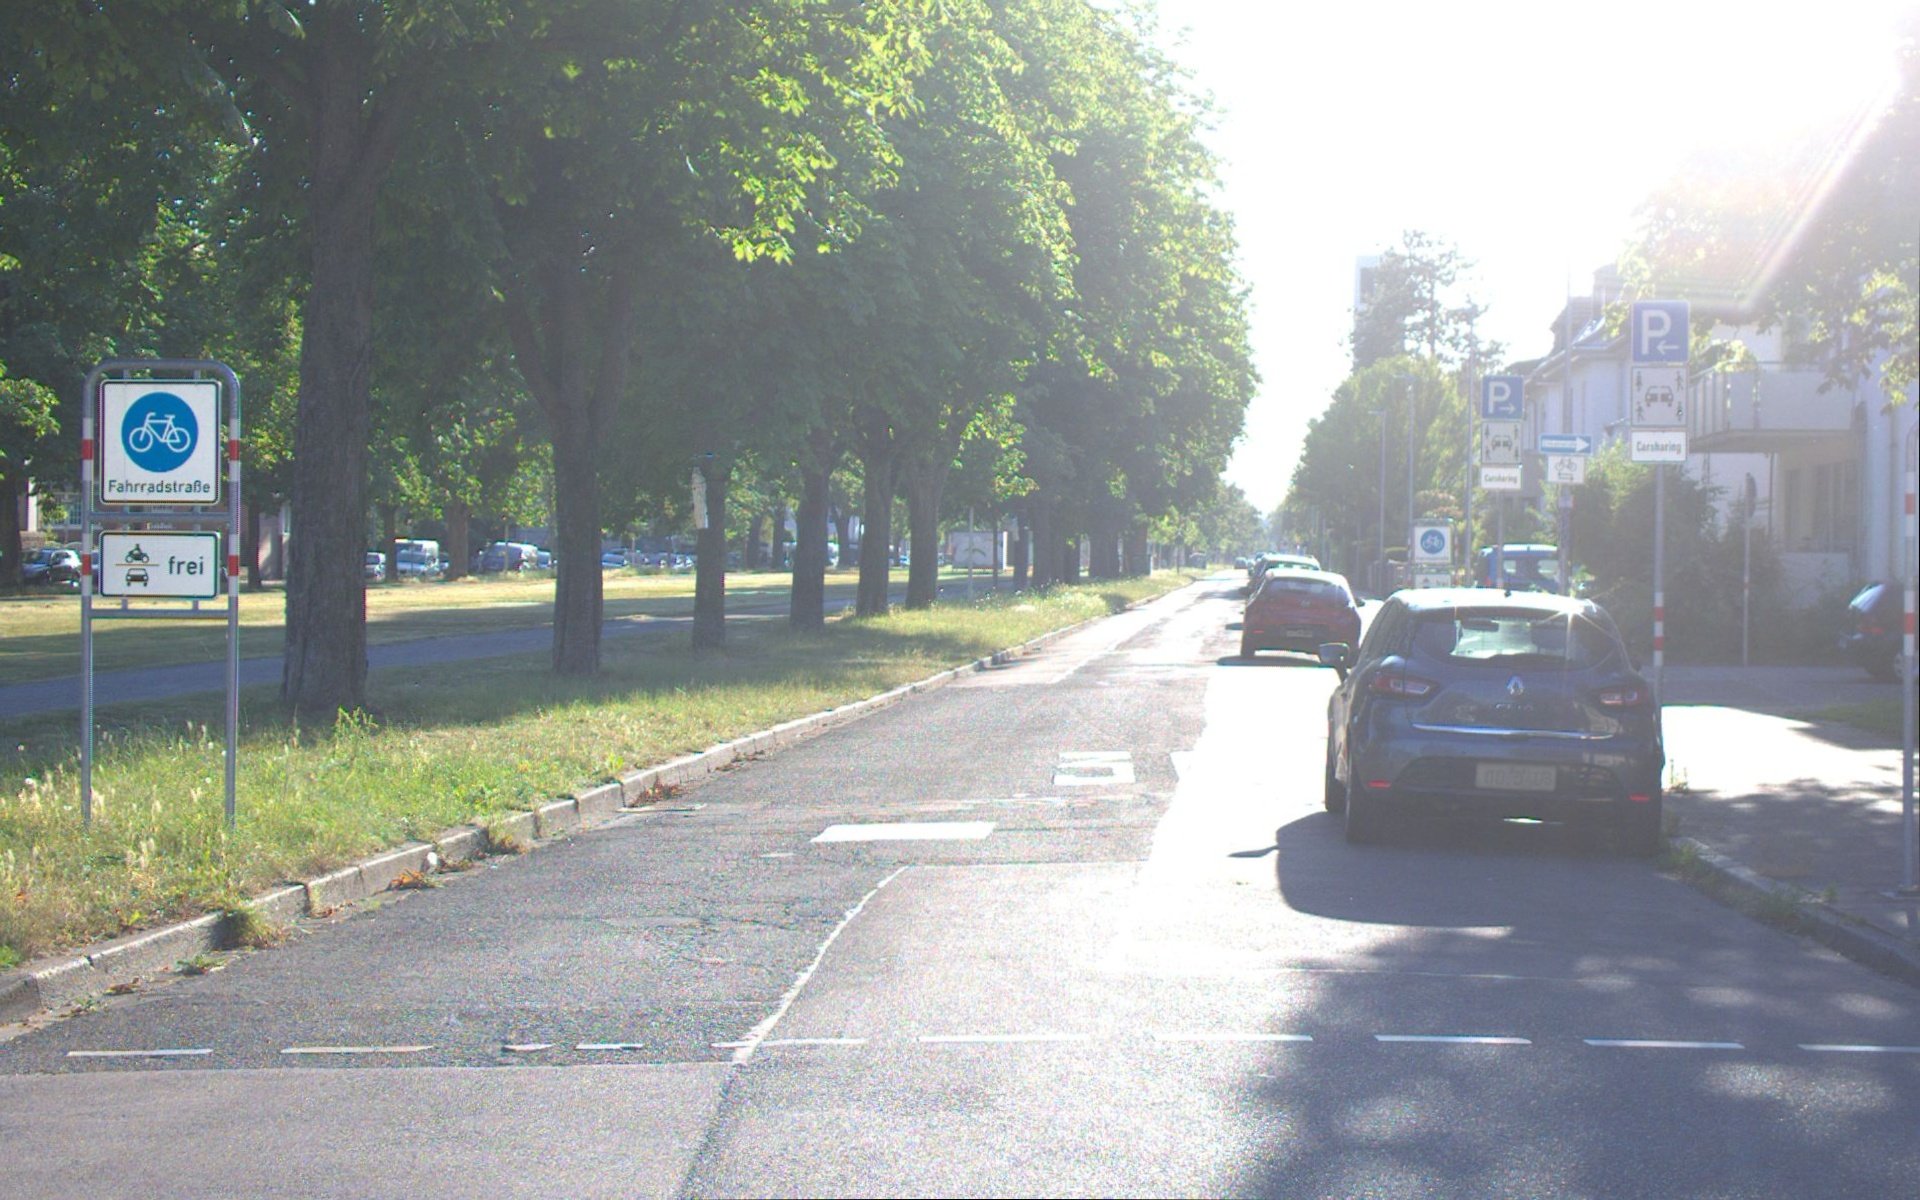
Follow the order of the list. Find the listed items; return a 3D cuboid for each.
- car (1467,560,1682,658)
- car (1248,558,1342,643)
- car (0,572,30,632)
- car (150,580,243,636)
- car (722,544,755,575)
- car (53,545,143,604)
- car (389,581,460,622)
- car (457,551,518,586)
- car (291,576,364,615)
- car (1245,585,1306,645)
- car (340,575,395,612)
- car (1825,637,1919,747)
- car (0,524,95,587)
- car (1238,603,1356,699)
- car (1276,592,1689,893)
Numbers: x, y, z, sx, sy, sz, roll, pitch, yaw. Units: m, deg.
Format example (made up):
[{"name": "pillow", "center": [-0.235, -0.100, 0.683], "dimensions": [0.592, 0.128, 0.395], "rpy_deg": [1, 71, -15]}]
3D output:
[{"name": "car", "center": [12.255, 0.192, 68.703], "dimensions": [3.987, 1.816, 1.759], "rpy_deg": [0, -5, 1]}, {"name": "car", "center": [7.728, -0.019, 79.645], "dimensions": [1.994, 1.775, 4.000], "rpy_deg": [3, 1, 4]}, {"name": "car", "center": [-27.952, 0.017, 96.949], "dimensions": [1.880, 1.668, 4.314], "rpy_deg": [3, 0, 6]}, {"name": "car", "center": [-26.017, 0.260, 117.259], "dimensions": [1.812, 1.775, 4.121], "rpy_deg": [3, 0, 6]}, {"name": "car", "center": [-15.010, -2.716, 233.409], "dimensions": [1.654, 1.932, 3.567], "rpy_deg": [3, -1, 4]}, {"name": "car", "center": [-31.129, -0.906, 124.255], "dimensions": [1.994, 2.007, 3.999], "rpy_deg": [3, 0, 3]}, {"name": "car", "center": [-23.013, 0.068, 147.771], "dimensions": [2.023, 1.653, 3.983], "rpy_deg": [3, 0, 6]}, {"name": "car", "center": [-22.993, -1.554, 167.584], "dimensions": [1.994, 1.653, 4.570], "rpy_deg": [1, 1, 5]}, {"name": "car", "center": [-28.305, -0.204, 153.963], "dimensions": [1.994, 1.653, 4.354], "rpy_deg": [3, 0, 7]}, {"name": "car", "center": [11.276, 0.534, 123.185], "dimensions": [1.994, 2.007, 3.999], "rpy_deg": [3, 0, 4]}, {"name": "car", "center": [-27.814, -0.321, 161.354], "dimensions": [1.639, 1.637, 3.854], "rpy_deg": [3, 0, 3]}, {"name": "car", "center": [13.985, 1.273, 46.916], "dimensions": [3.987, 1.442, 1.716], "rpy_deg": [1, 0, 5]}, {"name": "car", "center": [-31.440, -1.513, 118.456], "dimensions": [1.994, 2.007, 3.999], "rpy_deg": [3, 0, 3]}, {"name": "car", "center": [5.265, 0.765, 53.910], "dimensions": [1.710, 1.355, 4.202], "rpy_deg": [3, 0, 5]}, {"name": "car", "center": [2.987, 0.753, 20.545], "dimensions": [1.725, 1.506, 4.540], "rpy_deg": [3, 0, 0]}]
